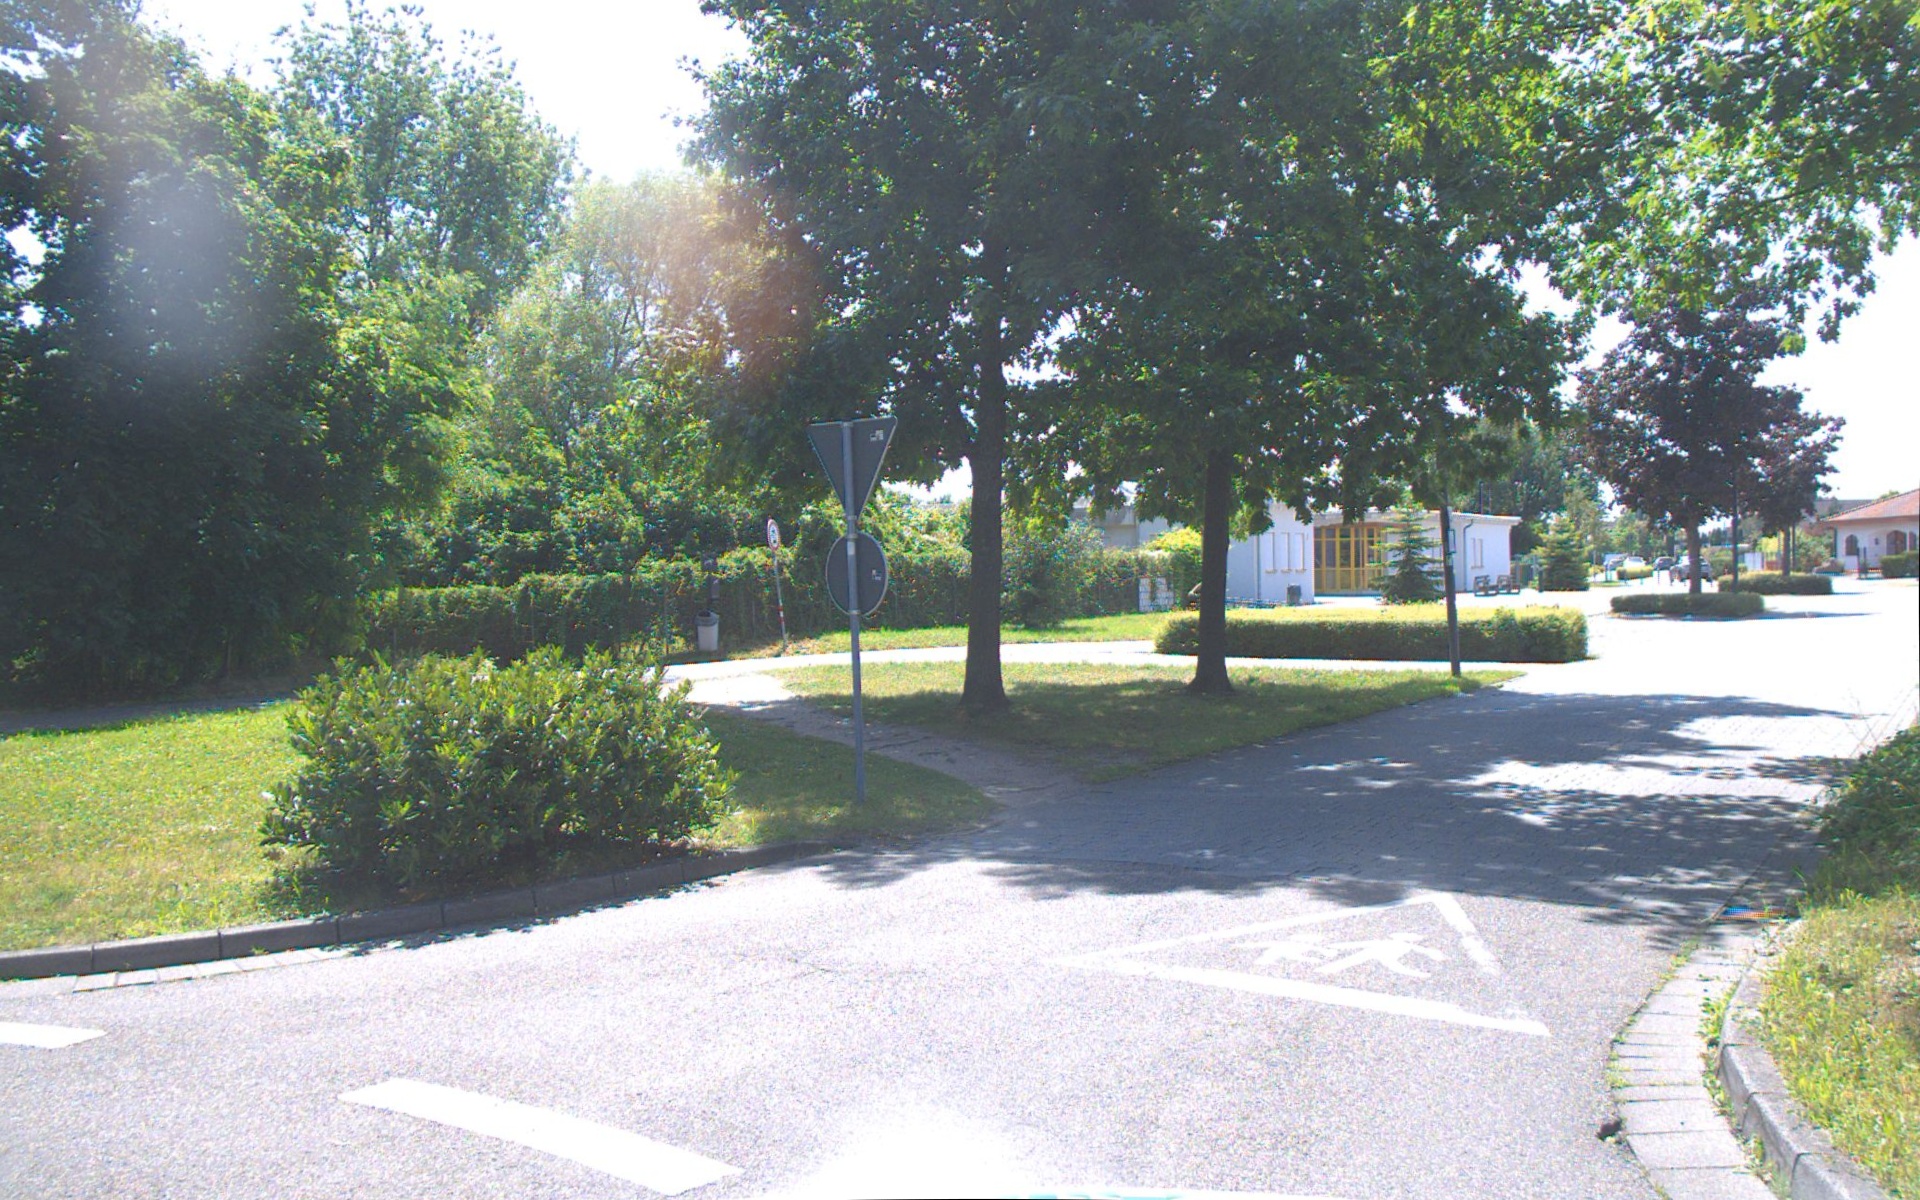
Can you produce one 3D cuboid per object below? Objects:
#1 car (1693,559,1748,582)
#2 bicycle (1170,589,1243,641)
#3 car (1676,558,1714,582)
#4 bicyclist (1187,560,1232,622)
[{"bbox_3d":[44.779,-1.728,97.460,1.951,1.310,4.004,-1,1,9],"label":"car"},{"bbox_3d":[4.813,0.279,32.235,0.589,0.945,1.609,-1,1,44],"label":"bicycle"},{"bbox_3d":[42.172,-1.737,94.950,1.580,1.311,3.559,-1,1,18],"label":"car"},{"bbox_3d":[4.865,-0.171,32.285,0.589,1.185,0.644,-1,1,44],"label":"bicyclist"}]
